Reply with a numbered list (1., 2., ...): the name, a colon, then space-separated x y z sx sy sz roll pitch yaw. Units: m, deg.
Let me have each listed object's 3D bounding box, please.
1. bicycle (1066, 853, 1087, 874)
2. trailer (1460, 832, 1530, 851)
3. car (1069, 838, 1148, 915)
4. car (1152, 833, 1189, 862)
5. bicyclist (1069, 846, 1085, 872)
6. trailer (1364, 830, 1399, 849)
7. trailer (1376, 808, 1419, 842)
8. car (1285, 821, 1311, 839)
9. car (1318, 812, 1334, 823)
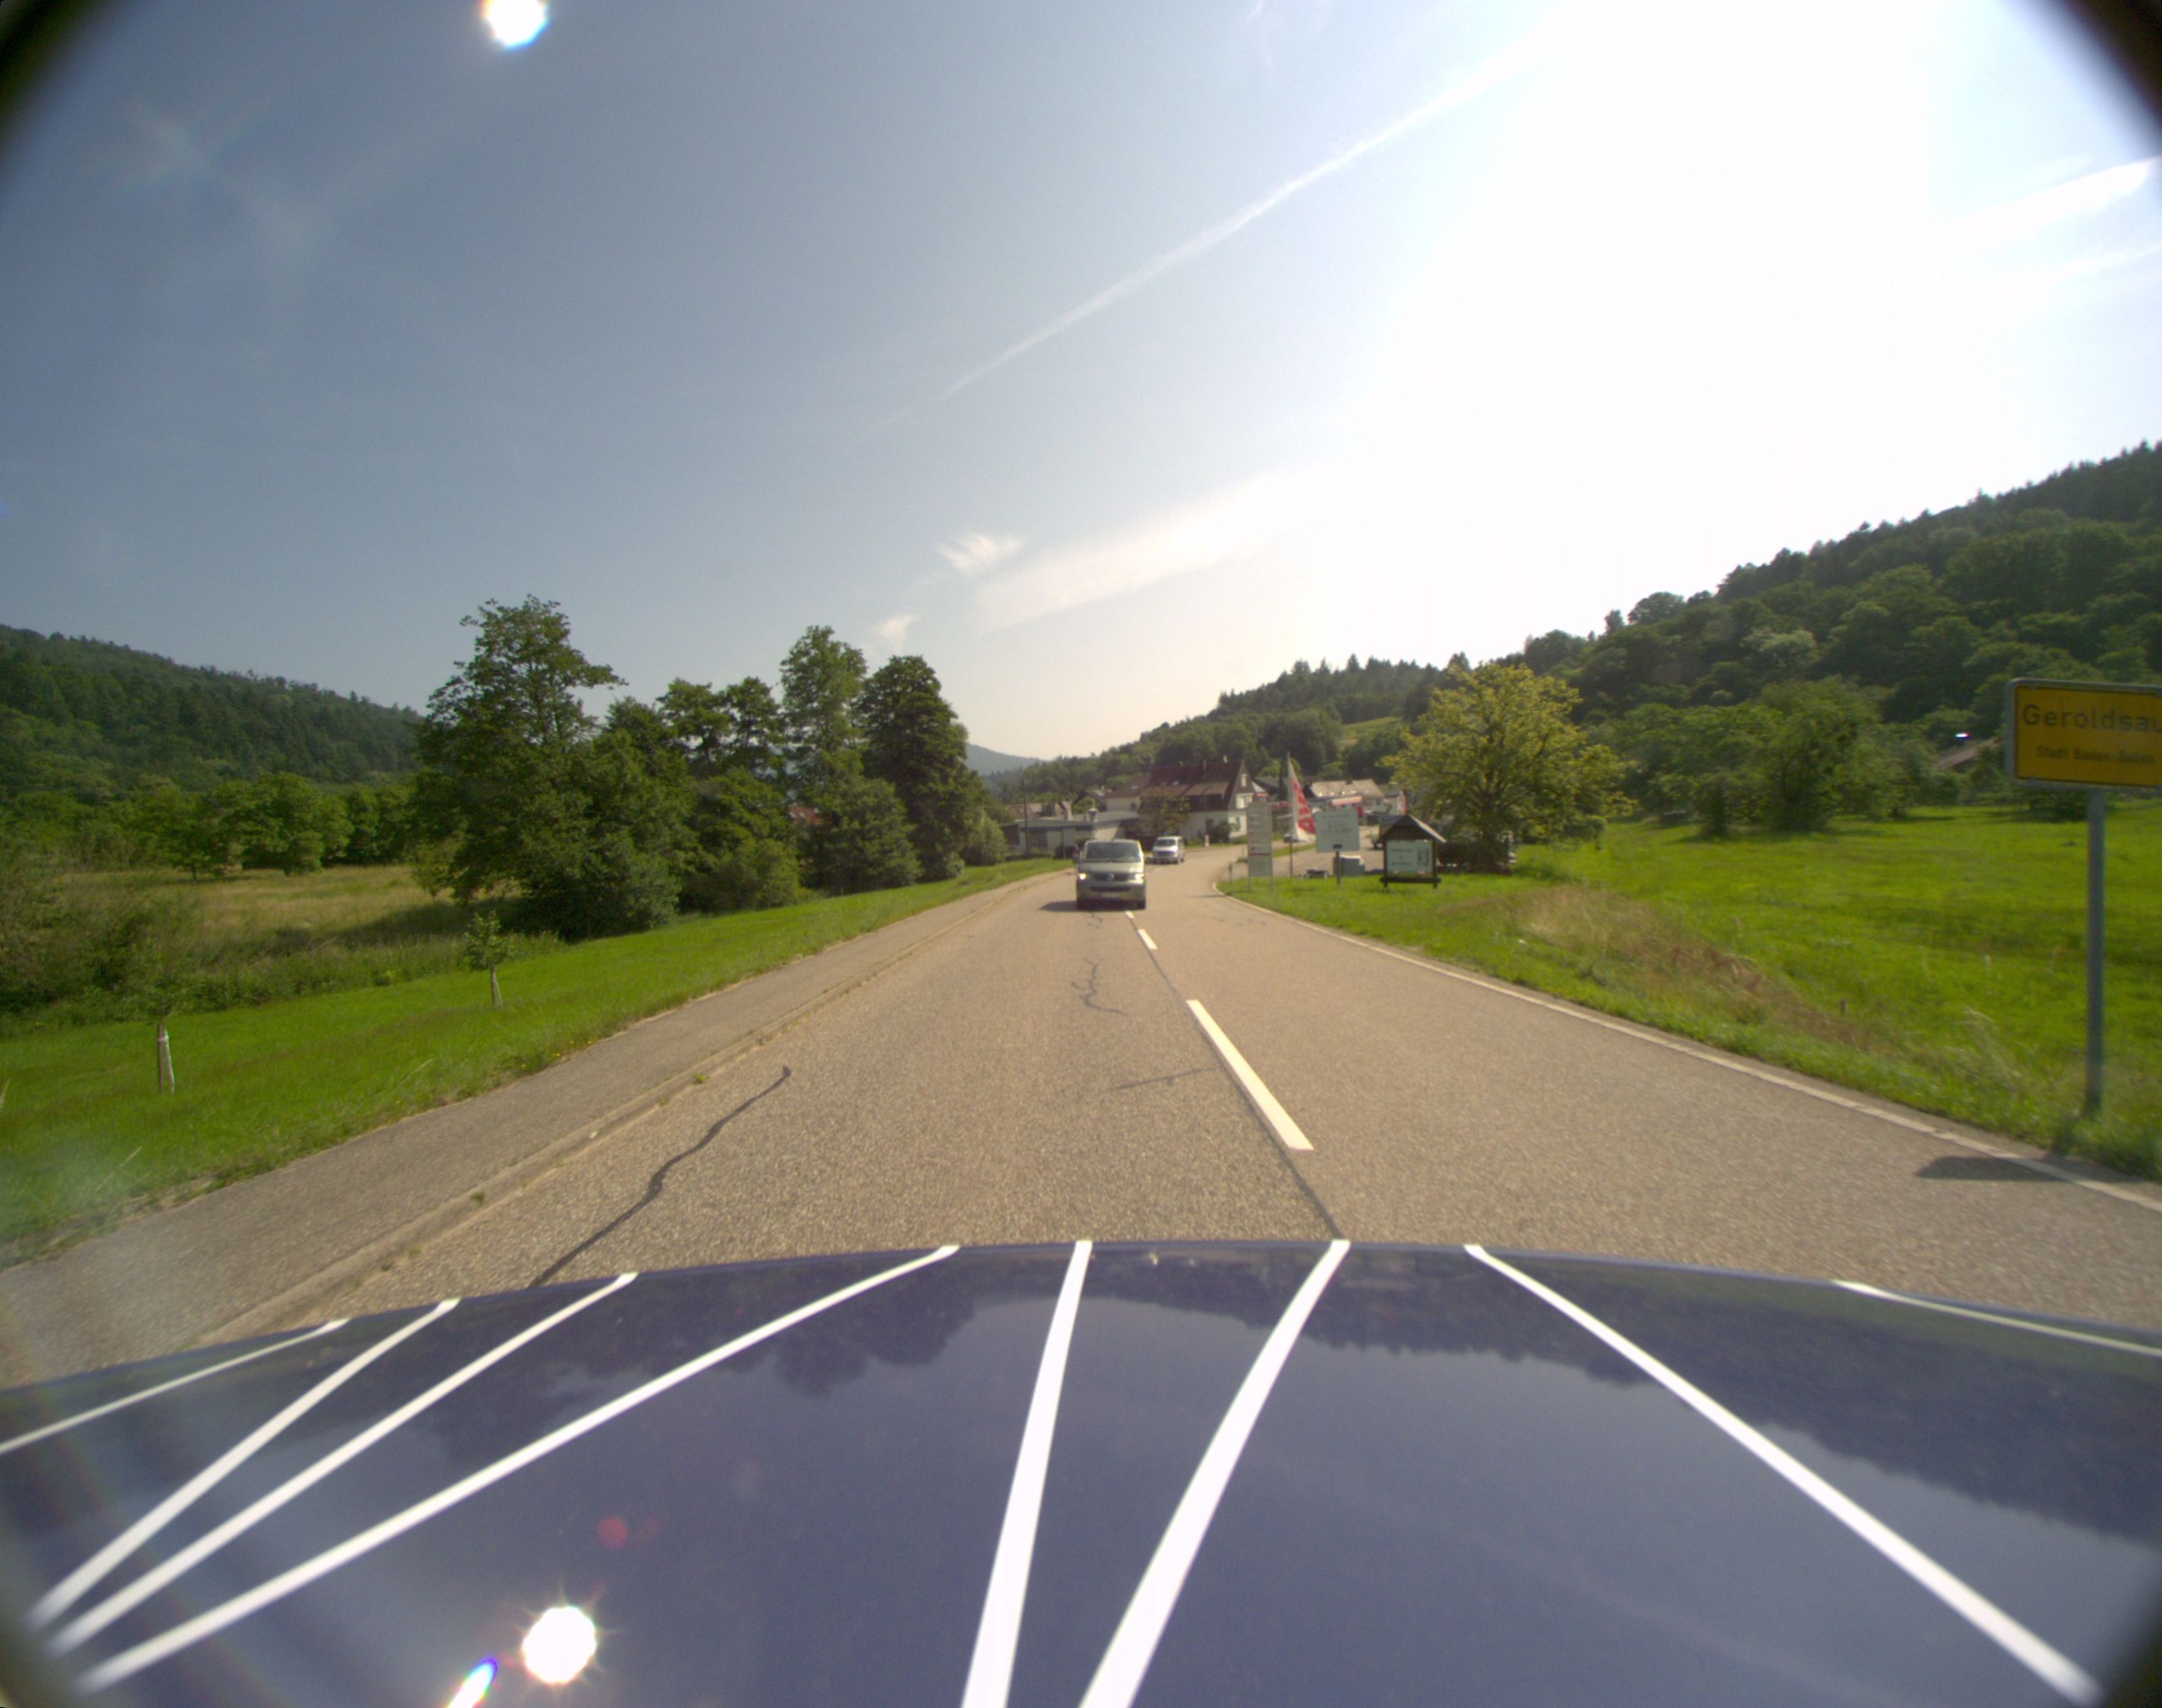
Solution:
1. bicycle: -0.242 0.504 42.180 0.580 1.029 1.992 2 3 16
2. trailer: 27.645 -0.823 50.737 3.935 0.934 1.870 -2 4 32
3. car: 0.826 0.551 22.063 2.023 1.970 5.049 1 1 3
4. car: 6.617 -0.533 55.787 1.893 1.847 4.706 -1 3 16
5. bicyclist: -0.205 0.276 42.182 0.580 1.335 1.146 2 4 16
6. trailer: 25.816 -1.289 65.206 1.995 1.220 5.553 -2 3 30
7. trailer: 28.983 -2.647 69.567 3.394 2.896 1.886 -2 3 28
8. car: 25.983 -2.867 90.905 1.764 1.737 3.985 -1 5 36
9. car: 45.460 -6.725 140.844 1.681 1.806 4.005 -2 4 34
